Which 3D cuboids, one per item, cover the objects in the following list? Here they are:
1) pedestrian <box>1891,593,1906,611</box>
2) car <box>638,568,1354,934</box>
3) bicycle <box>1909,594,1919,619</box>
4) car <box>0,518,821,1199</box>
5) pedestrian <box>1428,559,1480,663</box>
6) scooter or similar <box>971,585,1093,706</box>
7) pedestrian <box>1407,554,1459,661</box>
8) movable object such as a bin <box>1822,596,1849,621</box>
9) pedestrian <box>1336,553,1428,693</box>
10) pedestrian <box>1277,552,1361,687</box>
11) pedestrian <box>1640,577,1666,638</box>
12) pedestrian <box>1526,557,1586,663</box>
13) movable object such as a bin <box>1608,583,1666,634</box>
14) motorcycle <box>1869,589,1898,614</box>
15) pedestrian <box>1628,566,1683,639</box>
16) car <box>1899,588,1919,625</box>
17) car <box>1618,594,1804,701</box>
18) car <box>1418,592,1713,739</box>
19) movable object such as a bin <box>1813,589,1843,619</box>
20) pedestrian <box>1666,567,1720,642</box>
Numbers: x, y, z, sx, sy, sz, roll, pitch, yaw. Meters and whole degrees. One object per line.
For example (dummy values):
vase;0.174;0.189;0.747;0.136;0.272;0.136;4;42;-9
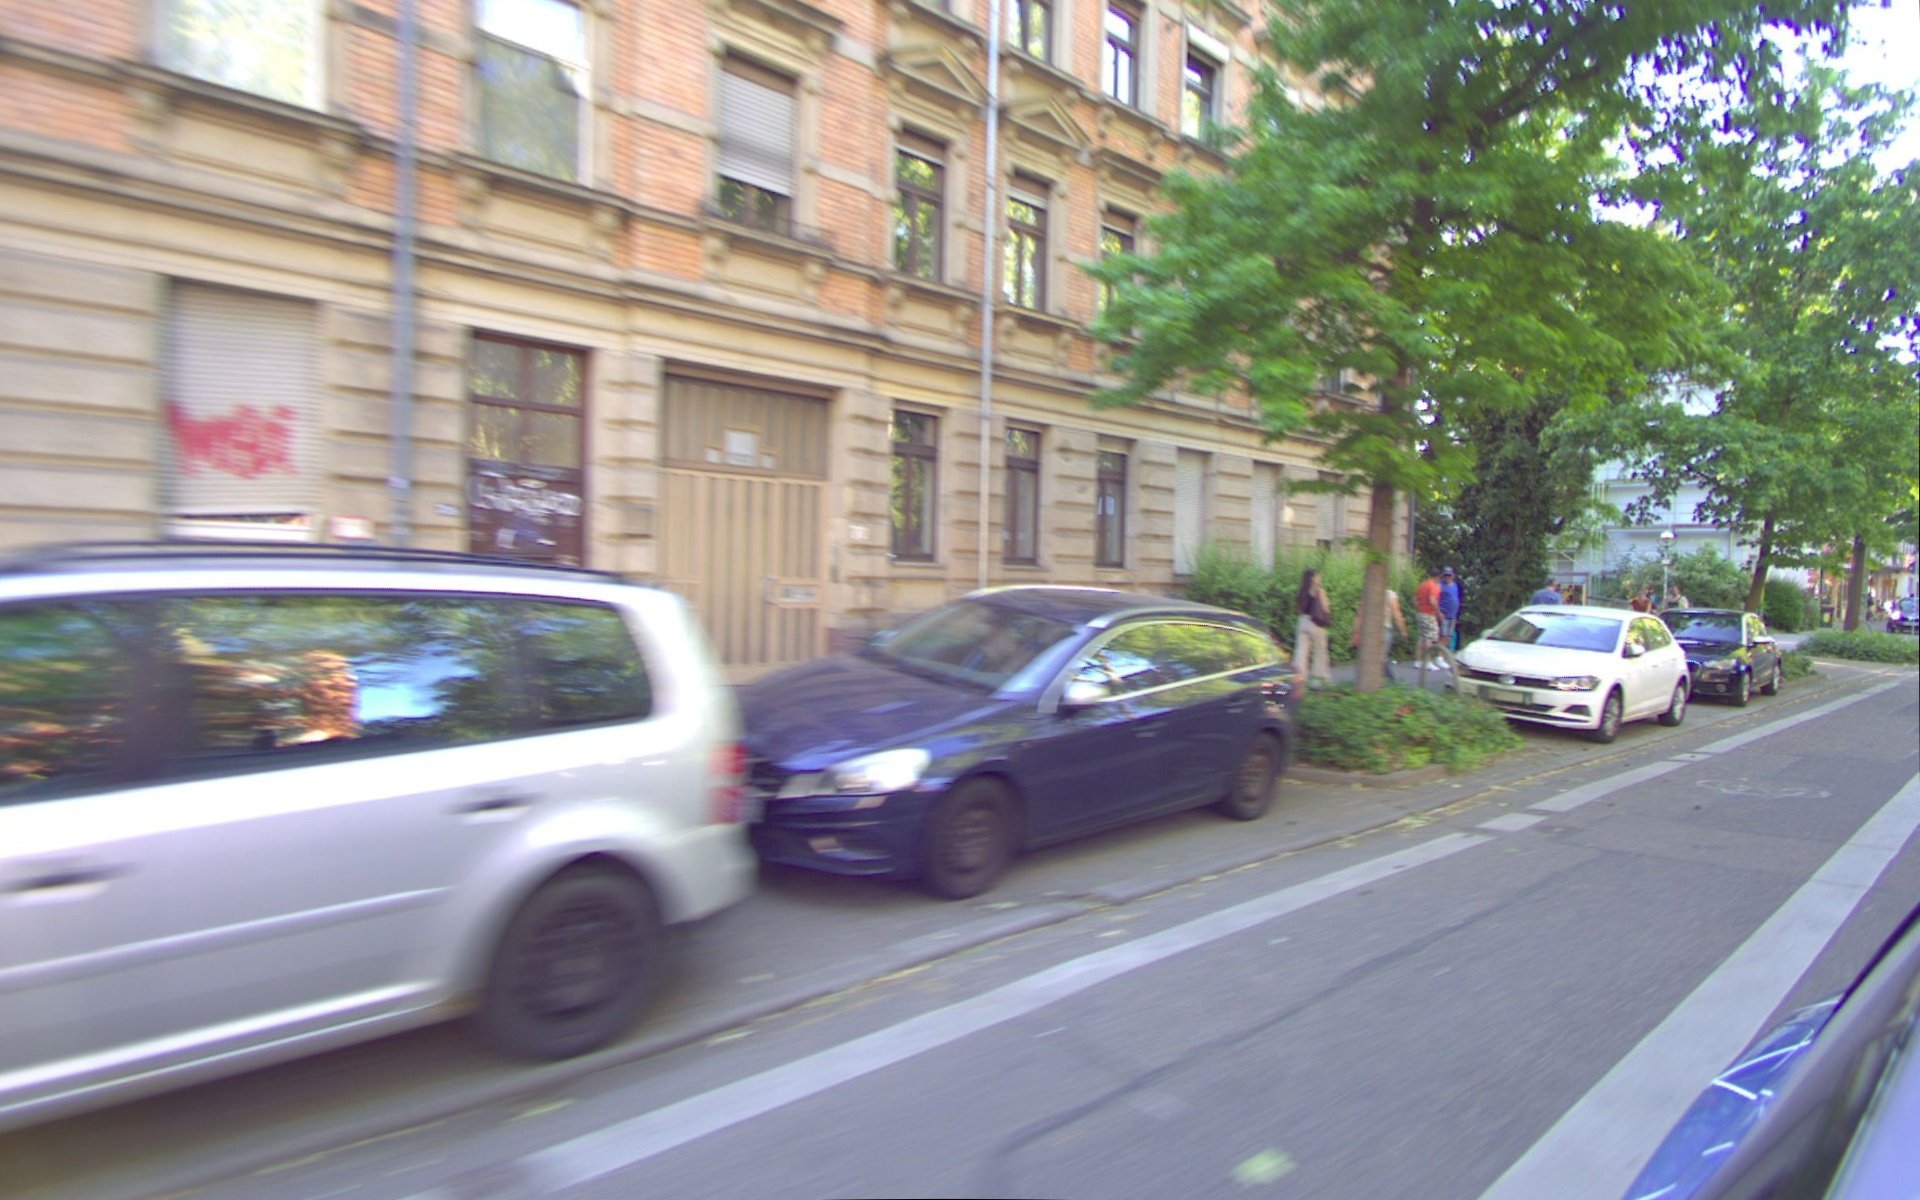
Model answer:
pedestrian;62.654;0.115;67.591;0.677;1.220;0.640;1;1;39
car;0.488;0.620;6.539;4.514;1.484;1.888;0;4;-41
bicycle;50.322;0.393;51.919;1.011;1.224;2.209;0;3;-40
car;-2.735;0.562;3.189;4.168;1.586;1.888;0;4;-41
pedestrian;8.817;0.181;18.066;0.716;1.815;0.599;0;0;-43
scooter or similar;0.807;0.467;11.196;1.311;1.262;0.577;0;1;-40
pedestrian;8.194;0.121;17.528;0.716;1.815;0.599;0;0;-45
movable object such as a bin;41.974;0.410;48.523;0.685;1.124;0.882;0;3;-42
pedestrian;5.395;0.273;12.939;0.939;1.714;0.728;0;0;-39
pedestrian;4.793;0.245;13.508;0.841;1.731;0.727;0;0;-40
pedestrian;20.130;0.220;29.398;0.615;1.747;0.547;1;0;34
pedestrian;10.459;0.158;17.778;0.589;1.815;0.728;0;0;-37
movable object such as a bin;16.866;0.211;25.208;1.279;1.217;0.642;1;3;-30
motorcycle;56.168;0.112;61.545;2.605;1.332;0.954;2;5;-43
pedestrian;17.755;0.064;25.855;0.948;1.815;0.729;1;3;-30
car;44.900;0.344;46.607;4.361;1.641;1.767;1;3;-39
car;12.306;0.678;16.505;3.777;1.429;1.676;0;4;-42
car;7.535;0.658;12.452;4.035;1.384;1.888;0;4;-41
movable object such as a bin;43.195;0.196;50.375;0.811;1.414;1.001;0;3;-42
pedestrian;18.443;0.104;25.473;0.836;1.815;0.729;1;3;-30
